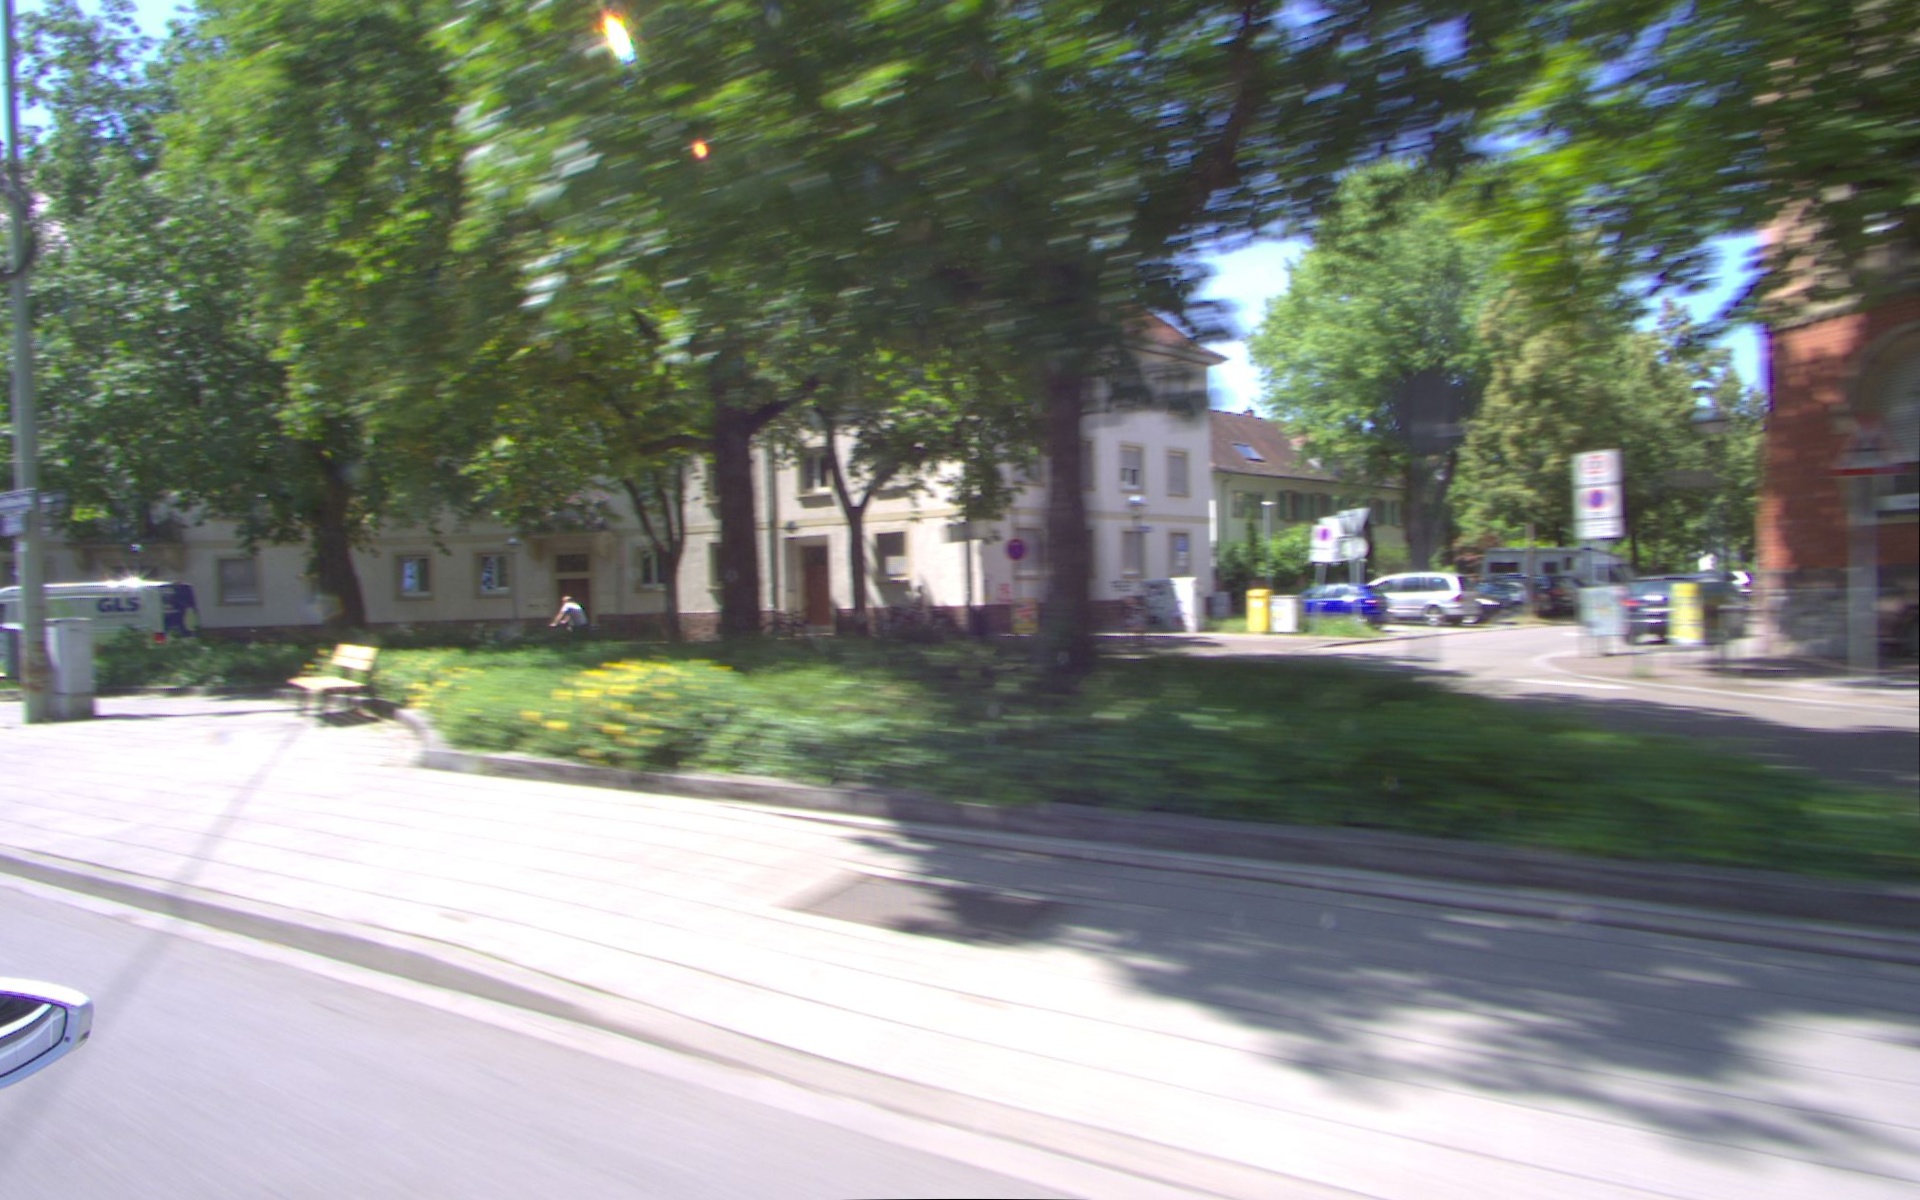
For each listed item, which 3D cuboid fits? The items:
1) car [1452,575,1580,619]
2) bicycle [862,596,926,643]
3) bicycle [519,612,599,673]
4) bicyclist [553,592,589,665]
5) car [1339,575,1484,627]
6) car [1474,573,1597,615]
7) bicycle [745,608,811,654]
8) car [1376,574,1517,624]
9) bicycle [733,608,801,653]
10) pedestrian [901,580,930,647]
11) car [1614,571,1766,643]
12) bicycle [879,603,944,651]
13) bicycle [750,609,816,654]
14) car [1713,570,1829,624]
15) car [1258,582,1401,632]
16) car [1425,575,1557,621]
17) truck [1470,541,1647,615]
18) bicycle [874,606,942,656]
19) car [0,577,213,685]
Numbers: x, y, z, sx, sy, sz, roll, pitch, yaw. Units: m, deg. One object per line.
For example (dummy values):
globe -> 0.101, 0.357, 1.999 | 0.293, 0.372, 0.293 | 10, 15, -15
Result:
car -> 22.302, -0.113, 40.282 | 1.709, 1.674, 4.226 | -1, 1, -43
bicycle -> -1.904, 0.557, 29.234 | 0.541, 1.317, 2.142 | -2, -1, 39
bicycle -> -10.171, 1.082, 25.394 | 2.134, 1.504, 0.591 | -2, 0, 27
bicyclist -> -9.770, 0.711, 25.185 | 0.526, 1.823, 0.601 | -2, 0, 26
car -> 15.337, 0.035, 34.175 | 1.709, 1.674, 4.226 | -1, 1, -43
car -> 24.283, -0.230, 42.368 | 1.709, 1.674, 4.226 | -1, 1, -43
bicycle -> -5.725, 0.961, 31.591 | 0.509, 1.365, 2.226 | -2, -1, 39
car -> 17.317, -0.013, 35.762 | 1.709, 1.674, 4.226 | -1, 1, -43
bicycle -> -6.162, 0.961, 32.029 | 0.509, 1.362, 2.311 | -2, -1, 39
pedestrian -> -1.397, 0.434, 31.364 | 0.792, 2.040, 0.773 | -2, 0, -6
car -> 16.396, 0.143, 22.402 | 4.710, 1.460, 1.888 | -1, -1, -43
bicycle -> -1.373, 0.754, 28.835 | 0.541, 1.317, 2.142 | -2, -1, 39
bicycle -> -5.466, 0.952, 30.990 | 0.541, 1.317, 2.142 | -2, -1, 39
car -> 26.128, -0.109, 32.182 | 5.430, 1.552, 1.971 | -1, -1, -41
car -> 11.431, 0.207, 31.162 | 1.709, 1.448, 3.852 | -1, 1, -43
car -> 20.643, -0.064, 39.040 | 1.709, 1.674, 4.226 | -1, 1, -43
truck -> 27.470, -0.942, 46.226 | 1.914, 3.195, 6.769 | -1, 1, -41
bicycle -> -1.406, 0.832, 27.484 | 0.541, 1.317, 2.142 | -2, -1, 39
car -> -23.559, 0.803, 26.440 | 5.741, 2.624, 1.998 | -2, 1, -12
